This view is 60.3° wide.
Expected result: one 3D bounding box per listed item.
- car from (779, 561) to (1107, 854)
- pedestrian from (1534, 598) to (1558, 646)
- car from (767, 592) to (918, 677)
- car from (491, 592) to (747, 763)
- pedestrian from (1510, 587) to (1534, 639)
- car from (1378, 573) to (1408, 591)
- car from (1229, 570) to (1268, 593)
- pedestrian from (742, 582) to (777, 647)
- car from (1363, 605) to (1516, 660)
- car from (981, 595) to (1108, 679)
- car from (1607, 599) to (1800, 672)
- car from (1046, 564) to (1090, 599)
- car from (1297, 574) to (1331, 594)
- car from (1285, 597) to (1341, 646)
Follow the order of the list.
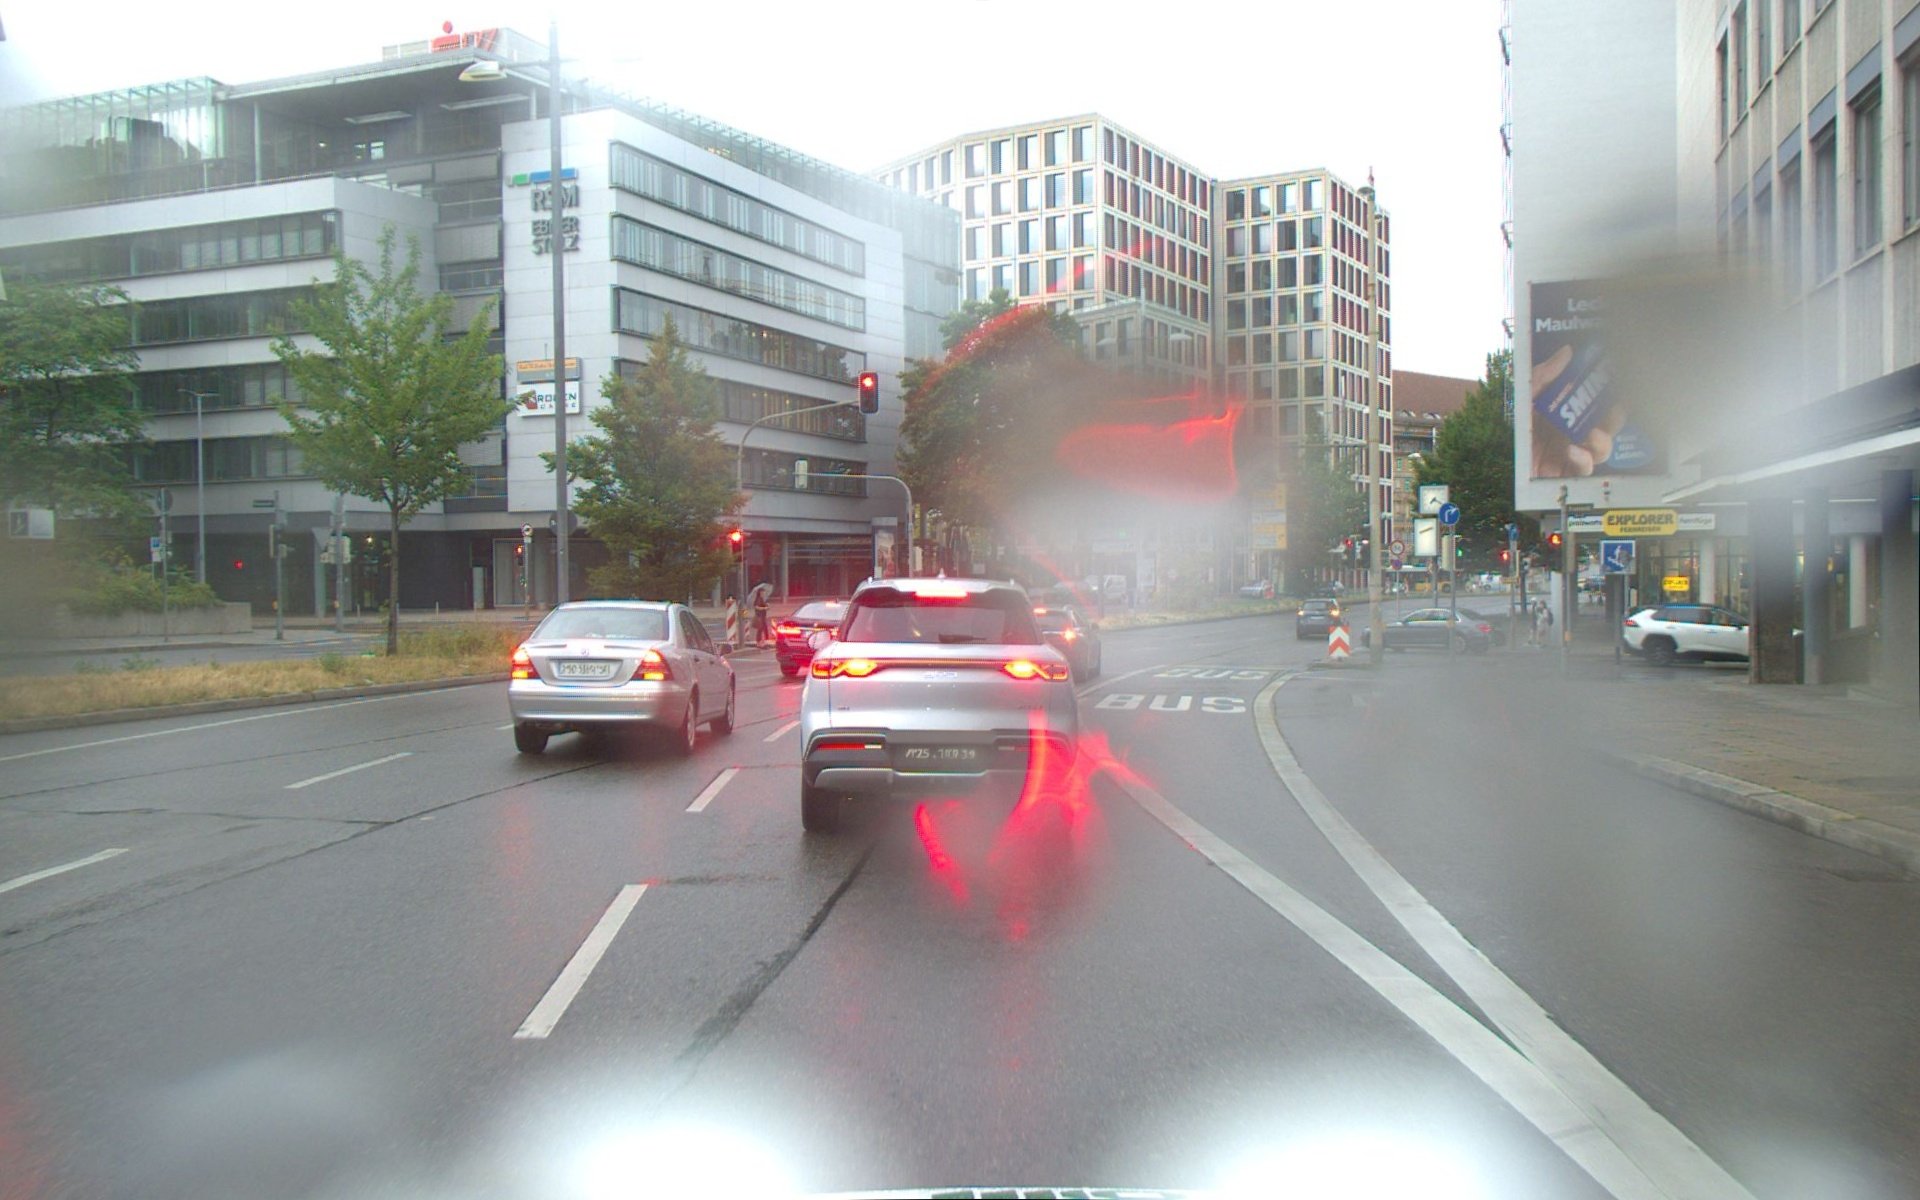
[{"bbox_3d":[-0.168,0.623,12.095,1.953,1.739,4.481,0,0,-2],"label":"car"},{"bbox_3d":[19.150,0.706,54.026,0.712,1.551,0.760,0,-1,17],"label":"pedestrian"},{"bbox_3d":[-2.245,0.627,32.741,1.913,1.557,4.003,0,0,12],"label":"car"},{"bbox_3d":[-3.302,0.678,16.796,1.647,1.512,4.197,0,0,1],"label":"car"},{"bbox_3d":[18.431,0.425,54.250,0.712,1.698,0.691,0,-1,17],"label":"pedestrian"},{"bbox_3d":[42.754,-1.801,163.276,1.955,1.735,3.995,1,2,28],"label":"car"},{"bbox_3d":[23.785,-1.535,136.331,1.956,1.735,4.303,1,2,28],"label":"car"},{"bbox_3d":[-5.474,0.383,45.214,0.903,1.768,0.729,0,0,-4],"label":"pedestrian"},{"bbox_3d":[15.249,1.002,52.712,4.275,1.536,1.907,2,1,39],"label":"car"},{"bbox_3d":[1.760,0.686,33.141,1.913,1.557,4.003,0,0,12],"label":"car"},{"bbox_3d":[19.561,0.885,43.549,4.434,1.780,1.995,1,1,31],"label":"car"},{"bbox_3d":[7.045,-1.178,107.617,1.701,2.199,4.495,1,0,19],"label":"car"},{"bbox_3d":[33.140,-1.488,154.881,1.956,1.735,4.303,1,2,28],"label":"car"},{"bbox_3d":[13.972,0.827,65.337,2.003,1.796,4.360,1,1,14],"label":"car"}]
